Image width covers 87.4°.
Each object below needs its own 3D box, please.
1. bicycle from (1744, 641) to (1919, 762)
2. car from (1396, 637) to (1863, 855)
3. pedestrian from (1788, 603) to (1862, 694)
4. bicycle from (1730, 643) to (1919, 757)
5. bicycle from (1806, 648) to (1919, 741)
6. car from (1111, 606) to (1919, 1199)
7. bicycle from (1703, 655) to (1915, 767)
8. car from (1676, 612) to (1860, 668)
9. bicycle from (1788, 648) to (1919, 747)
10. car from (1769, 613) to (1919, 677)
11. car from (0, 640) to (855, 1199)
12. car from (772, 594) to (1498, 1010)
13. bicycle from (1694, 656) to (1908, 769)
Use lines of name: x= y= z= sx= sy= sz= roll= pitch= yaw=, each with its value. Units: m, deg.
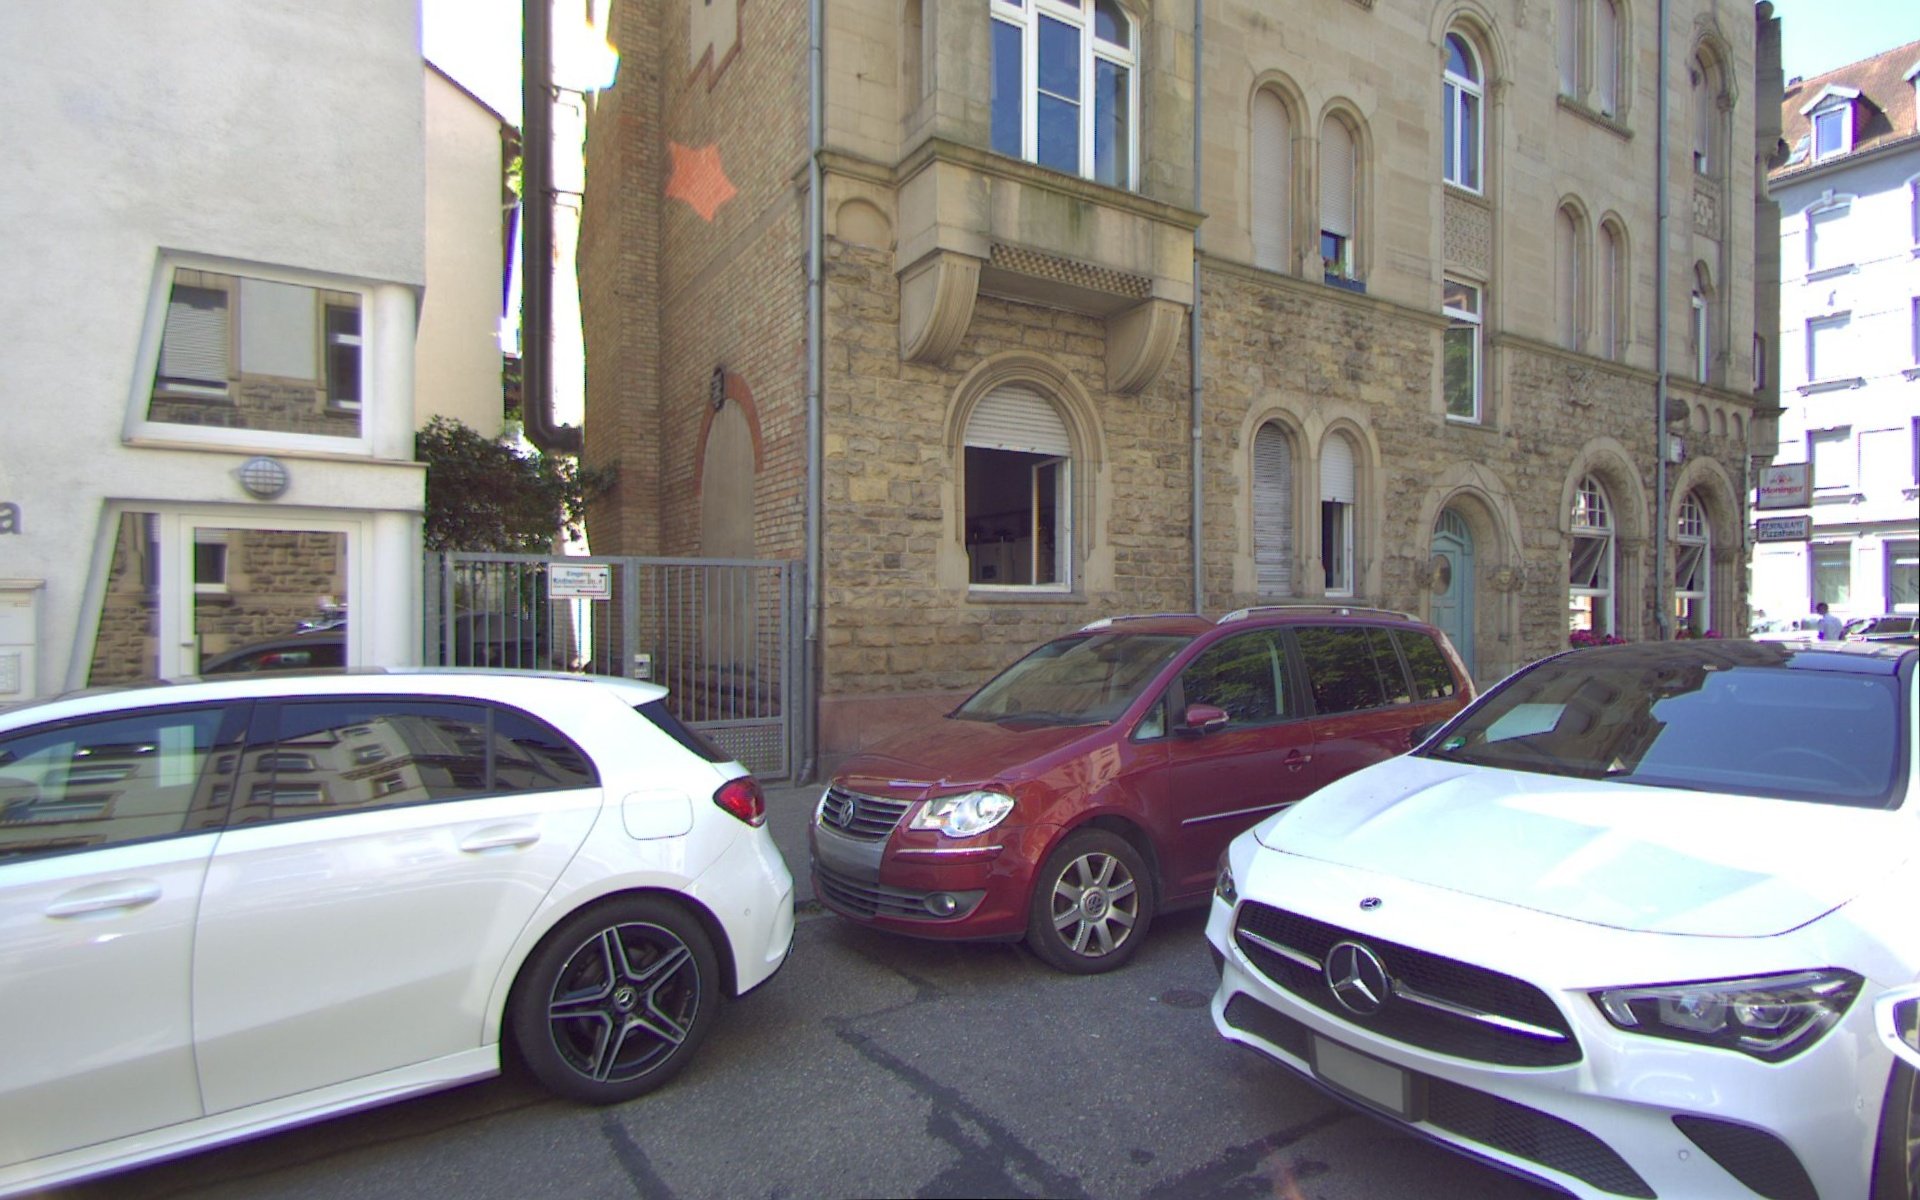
bicycle: x=9.906 y=1.099 z=11.049 sx=0.391 sy=1.145 sz=1.958 roll=1 pitch=2 yaw=-35
car: x=5.770 y=1.034 z=8.473 sx=4.468 sy=1.370 sz=1.691 roll=1 pitch=-3 yaw=-34
pedestrian: x=16.613 y=0.912 z=19.299 sx=0.765 sy=1.694 sz=0.853 roll=0 pitch=-1 yaw=-31
bicycle: x=10.115 y=1.116 z=11.534 sx=0.432 sy=1.145 sz=1.982 roll=1 pitch=0 yaw=-35
bicycle: x=11.308 y=1.148 z=12.204 sx=0.363 sy=1.021 sz=1.515 roll=0 pitch=1 yaw=-35
car: x=2.815 y=0.822 z=3.696 sx=4.313 sy=1.480 sz=1.832 roll=1 pitch=-3 yaw=-32
bicycle: x=9.150 y=1.177 z=10.902 sx=0.289 sy=1.114 sz=1.692 roll=1 pitch=-4 yaw=-35
car: x=24.592 y=1.191 z=30.702 sx=1.787 sy=1.582 sz=4.025 roll=1 pitch=-2 yaw=-32
bicycle: x=10.964 y=1.150 z=11.919 sx=0.410 sy=1.059 sz=1.693 roll=1 pitch=1 yaw=-35
car: x=23.506 y=1.128 z=25.568 sx=1.786 sy=1.539 sz=4.202 roll=1 pitch=-2 yaw=-31
car: x=-2.630 y=0.910 z=3.245 sx=4.234 sy=1.479 sz=1.766 roll=1 pitch=-3 yaw=-34
car: x=1.131 y=0.848 z=5.715 sx=4.010 sy=1.603 sz=1.663 roll=1 pitch=-3 yaw=-33
bicycle: x=8.903 y=1.167 z=10.714 sx=0.289 sy=1.114 sz=1.692 roll=1 pitch=-4 yaw=-35
